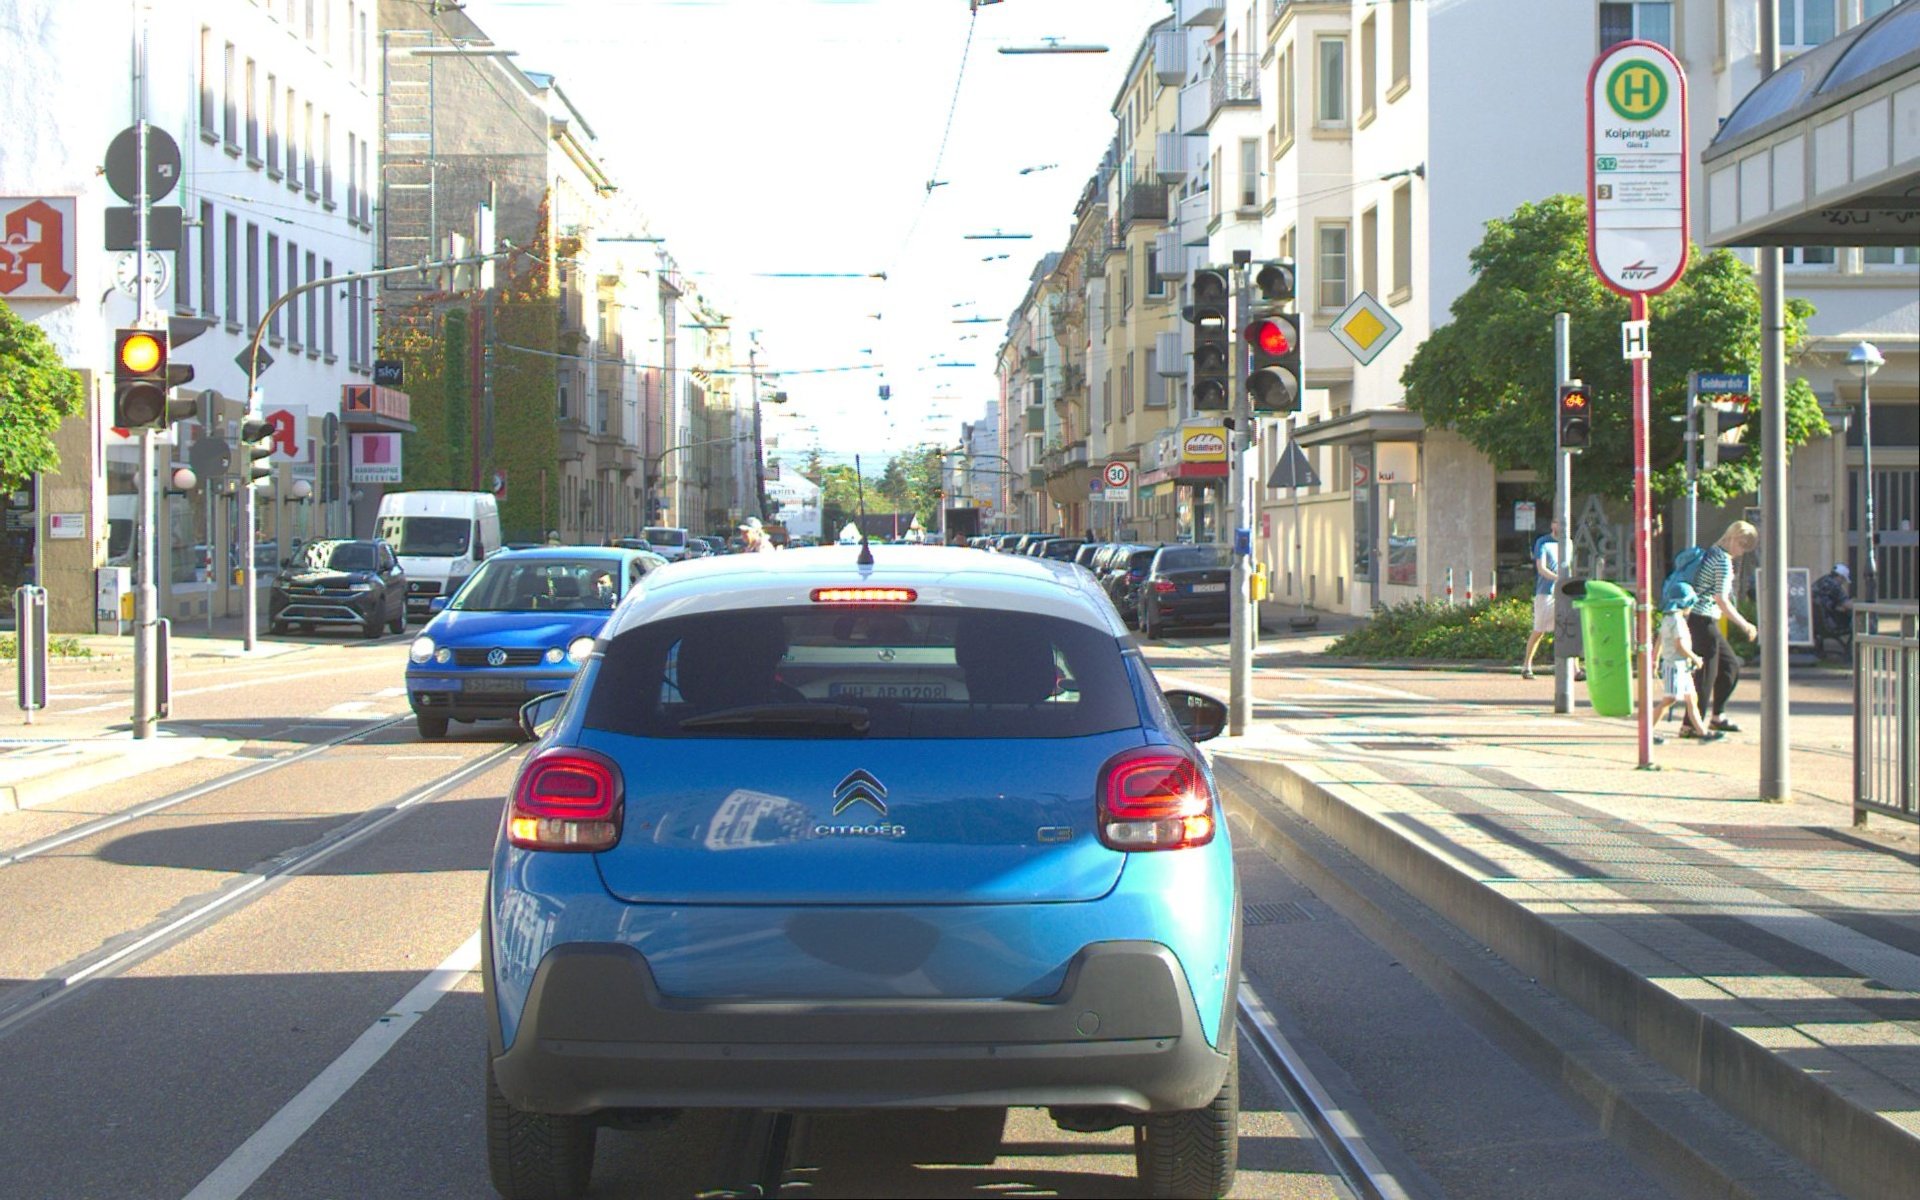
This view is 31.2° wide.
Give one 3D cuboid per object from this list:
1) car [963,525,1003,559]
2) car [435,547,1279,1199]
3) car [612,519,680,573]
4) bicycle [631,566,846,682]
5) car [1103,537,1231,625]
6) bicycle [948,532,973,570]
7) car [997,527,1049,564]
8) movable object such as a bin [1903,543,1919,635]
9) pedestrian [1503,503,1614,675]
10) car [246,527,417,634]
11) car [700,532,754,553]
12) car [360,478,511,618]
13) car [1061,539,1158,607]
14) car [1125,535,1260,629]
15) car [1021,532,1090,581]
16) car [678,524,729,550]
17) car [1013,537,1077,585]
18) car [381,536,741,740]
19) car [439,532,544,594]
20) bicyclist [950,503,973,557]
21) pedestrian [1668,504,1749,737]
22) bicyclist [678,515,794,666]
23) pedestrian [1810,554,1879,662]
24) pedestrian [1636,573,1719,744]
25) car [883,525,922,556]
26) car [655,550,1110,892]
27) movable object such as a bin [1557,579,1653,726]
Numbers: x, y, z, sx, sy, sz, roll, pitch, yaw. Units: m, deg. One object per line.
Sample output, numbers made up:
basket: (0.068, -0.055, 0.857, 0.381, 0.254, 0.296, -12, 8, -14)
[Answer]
car: (1.188, -2.995, 176.998, 1.993, 1.766, 4.000, 0, 1, -1)
car: (-0.237, 0.617, 9.026, 1.728, 1.477, 3.827, 1, 1, -1)
car: (-11.858, -2.034, 130.155, 2.006, 2.007, 4.689, 1, 1, 1)
bicycle: (-2.163, 0.224, 33.621, 1.970, 1.109, 0.730, 0, 1, -25)
car: (3.574, -0.356, 59.904, 1.993, 1.459, 4.000, 0, 1, 0)
bicycle: (0.024, -1.820, 127.885, 0.920, 1.384, 3.132, 0, 1, 0)
car: (2.473, -2.168, 136.245, 1.993, 1.459, 4.000, 0, 1, 0)
movable object such as a bin: (12.668, -0.142, 43.402, 1.198, 1.149, 1.217, 0, 1, 0)
pedestrian: (6.622, -0.125, 38.082, 0.981, 1.871, 1.129, 0, 0, -2)
car: (-10.111, -0.324, 55.616, 1.993, 1.563, 4.403, 3, 1, -2)
car: (-12.751, -3.139, 188.110, 1.994, 1.152, 4.513, 0, 1, 9)
car: (-10.003, -1.005, 65.968, 2.085, 2.533, 6.206, 1, 1, -2)
car: (3.302, -0.627, 76.525, 1.993, 1.459, 4.000, 0, 1, 0)
car: (3.722, -0.317, 55.547, 1.909, 1.459, 4.000, 0, 1, 0)
car: (2.903, -1.330, 105.238, 1.993, 1.459, 4.504, 0, 1, 0)
car: (-11.557, -2.842, 155.201, 1.993, 1.152, 4.000, 0, 1, 0)
car: (2.767, -1.299, 112.837, 1.993, 1.546, 4.000, 0, 1, 0)
car: (-3.089, 0.242, 27.434, 1.668, 1.482, 3.998, 1, 1, 12)
car: (-11.048, -0.869, 81.323, 1.993, 1.393, 4.157, 1, 1, -2)
bicyclist: (0.056, -2.599, 128.023, 0.809, 2.007, 0.922, 1, 0, -1)
pedestrian: (5.682, 0.151, 26.108, 0.558, 1.739, 0.526, 1, 0, 10)
bicyclist: (-2.191, -0.098, 33.600, 0.874, 1.450, 0.830, 1, 0, -25)
pedestrian: (10.877, 0.088, 42.270, 0.741, 1.311, 0.627, 0, 1, 23)
pedestrian: (5.202, 0.416, 24.943, 0.558, 1.221, 0.526, 1, 0, 10)
car: (-3.359, -3.483, 200.456, 1.993, 1.772, 4.001, 0, 1, -4)
car: (-0.371, 0.500, 17.556, 1.984, 1.459, 4.816, 1, 1, -1)
movable object such as a bin: (3.499, 0.278, 18.667, 0.449, 0.783, 0.489, 0, 1, 2)
